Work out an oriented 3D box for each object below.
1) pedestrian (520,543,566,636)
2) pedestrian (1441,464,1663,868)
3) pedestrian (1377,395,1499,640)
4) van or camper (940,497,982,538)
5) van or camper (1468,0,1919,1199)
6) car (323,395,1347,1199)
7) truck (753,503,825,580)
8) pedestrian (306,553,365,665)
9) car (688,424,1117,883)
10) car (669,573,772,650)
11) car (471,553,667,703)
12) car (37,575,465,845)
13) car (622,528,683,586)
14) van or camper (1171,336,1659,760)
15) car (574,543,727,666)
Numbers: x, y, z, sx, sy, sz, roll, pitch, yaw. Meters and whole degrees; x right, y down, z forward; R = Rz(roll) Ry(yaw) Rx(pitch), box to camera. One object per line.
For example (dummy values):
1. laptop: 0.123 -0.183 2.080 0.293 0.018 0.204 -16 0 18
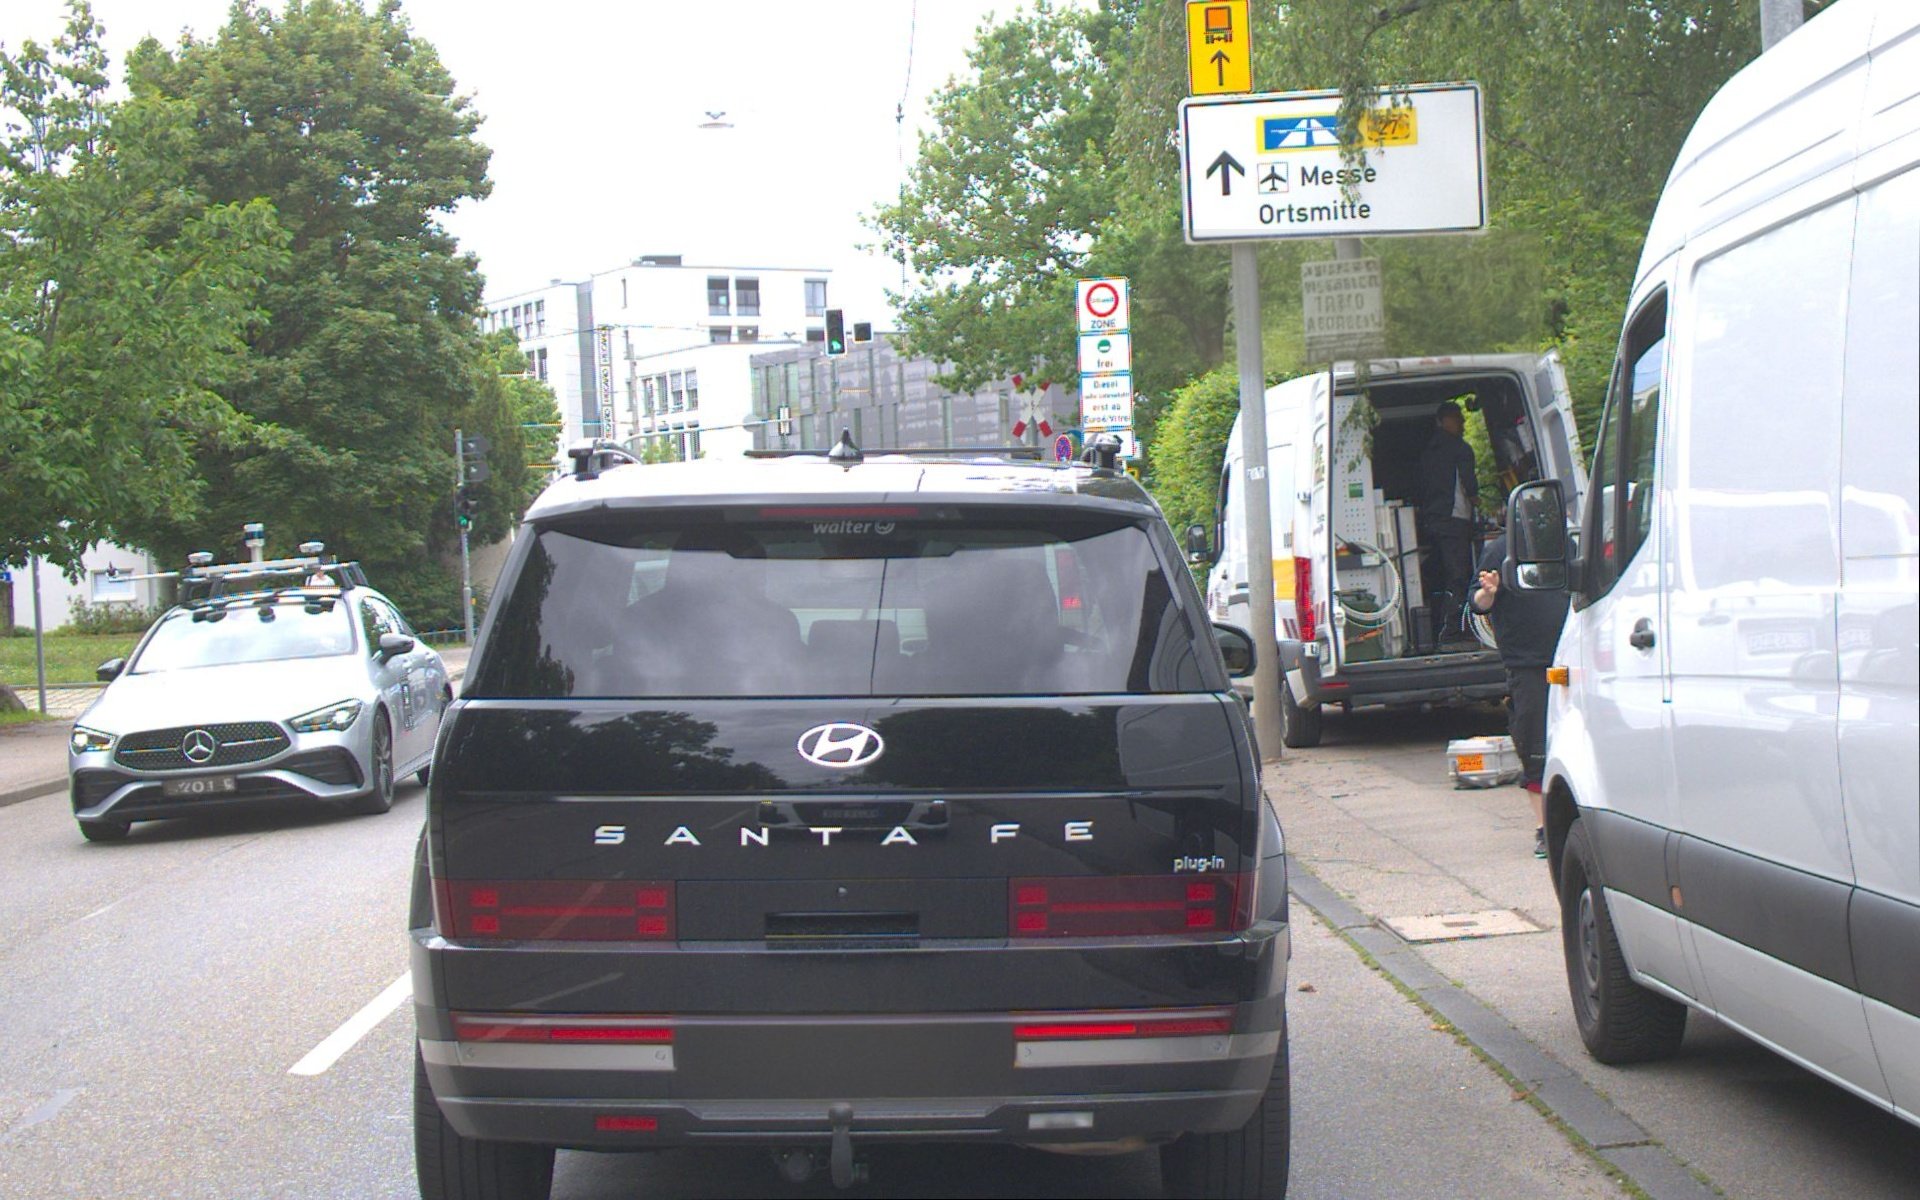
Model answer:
1. pedestrian: -9.151 -0.234 75.407 0.830 2.007 1.047 1 0 2
2. pedestrian: 2.618 0.282 15.282 0.789 1.715 0.752 -3 0 1
3. pedestrian: 3.333 -0.566 23.934 0.736 1.638 0.801 -3 0 9
4. van or camper: 0.041 -4.127 172.353 1.795 1.992 3.824 1 0 -4
5. van or camper: 2.621 0.002 6.792 1.991 2.616 6.544 -5 1 -1
6. car: -0.258 0.497 8.434 1.897 1.770 3.994 1 0 -1
7. truck: -9.101 -3.072 181.881 3.107 3.846 9.623 -2 1 -6
8. pedestrian: -9.820 0.141 54.115 0.767 1.742 0.904 -1 0 -2
9. car: -0.279 0.224 17.434 1.897 2.035 3.994 1 0 -1
10. car: -5.048 0.211 72.930 1.814 1.414 4.829 -5 1 -1
11. car: -4.336 0.280 38.619 1.701 1.478 4.000 -4 1 -1
12. car: -4.353 0.612 21.785 1.756 1.398 4.414 -4 1 -1
13. car: -12.887 -1.800 143.835 2.332 2.307 4.959 -2 1 -6
14. van or camper: 3.093 -0.326 25.142 2.340 2.486 6.603 -5 0 -1
15. car: -4.629 0.049 51.942 1.880 1.639 4.128 -4 1 -1
